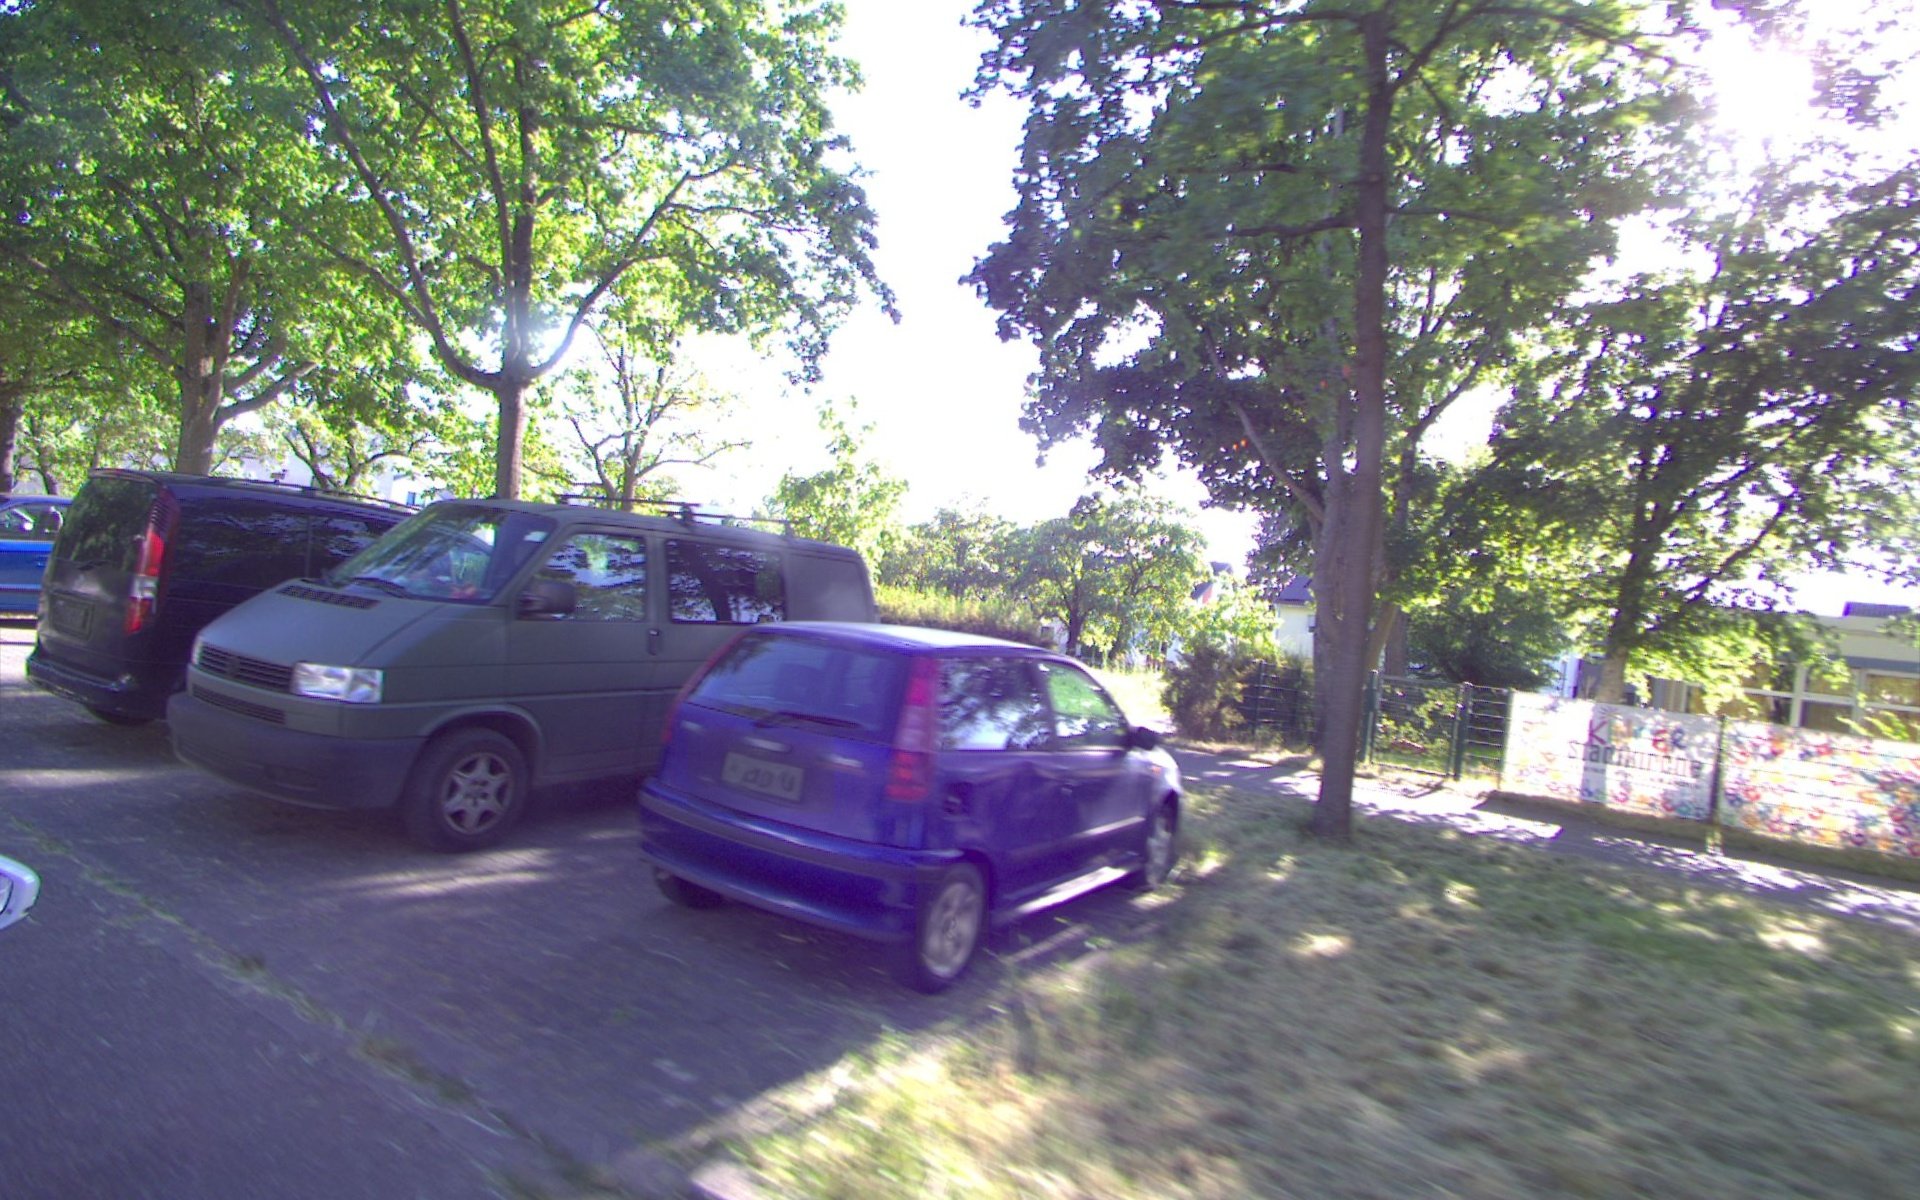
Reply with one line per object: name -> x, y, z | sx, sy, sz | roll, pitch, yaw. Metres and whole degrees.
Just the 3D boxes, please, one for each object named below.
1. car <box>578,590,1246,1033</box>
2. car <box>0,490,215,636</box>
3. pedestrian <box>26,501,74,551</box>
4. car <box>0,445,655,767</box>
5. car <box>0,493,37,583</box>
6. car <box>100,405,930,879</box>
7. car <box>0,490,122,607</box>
car -> 0.137, 0.899, 5.702 | 1.711, 1.420, 3.994 | 7, -1, 32
car -> -11.326, -0.507, 11.986 | 1.638, 1.551, 3.523 | 6, 0, 34
pedestrian -> -30.212, -2.437, 33.412 | 0.875, 1.519, 0.936 | 7, 1, -30
car -> -4.677, 0.099, 8.058 | 1.769, 1.859, 4.015 | 6, 0, 30
car -> -18.896, -1.316, 17.629 | 1.827, 1.596, 3.587 | 6, 0, 32
car -> -2.423, 0.284, 6.896 | 1.912, 2.056, 4.809 | 7, -1, 32
car -> -14.911, -0.899, 14.769 | 1.758, 1.596, 3.585 | 6, 0, 34
